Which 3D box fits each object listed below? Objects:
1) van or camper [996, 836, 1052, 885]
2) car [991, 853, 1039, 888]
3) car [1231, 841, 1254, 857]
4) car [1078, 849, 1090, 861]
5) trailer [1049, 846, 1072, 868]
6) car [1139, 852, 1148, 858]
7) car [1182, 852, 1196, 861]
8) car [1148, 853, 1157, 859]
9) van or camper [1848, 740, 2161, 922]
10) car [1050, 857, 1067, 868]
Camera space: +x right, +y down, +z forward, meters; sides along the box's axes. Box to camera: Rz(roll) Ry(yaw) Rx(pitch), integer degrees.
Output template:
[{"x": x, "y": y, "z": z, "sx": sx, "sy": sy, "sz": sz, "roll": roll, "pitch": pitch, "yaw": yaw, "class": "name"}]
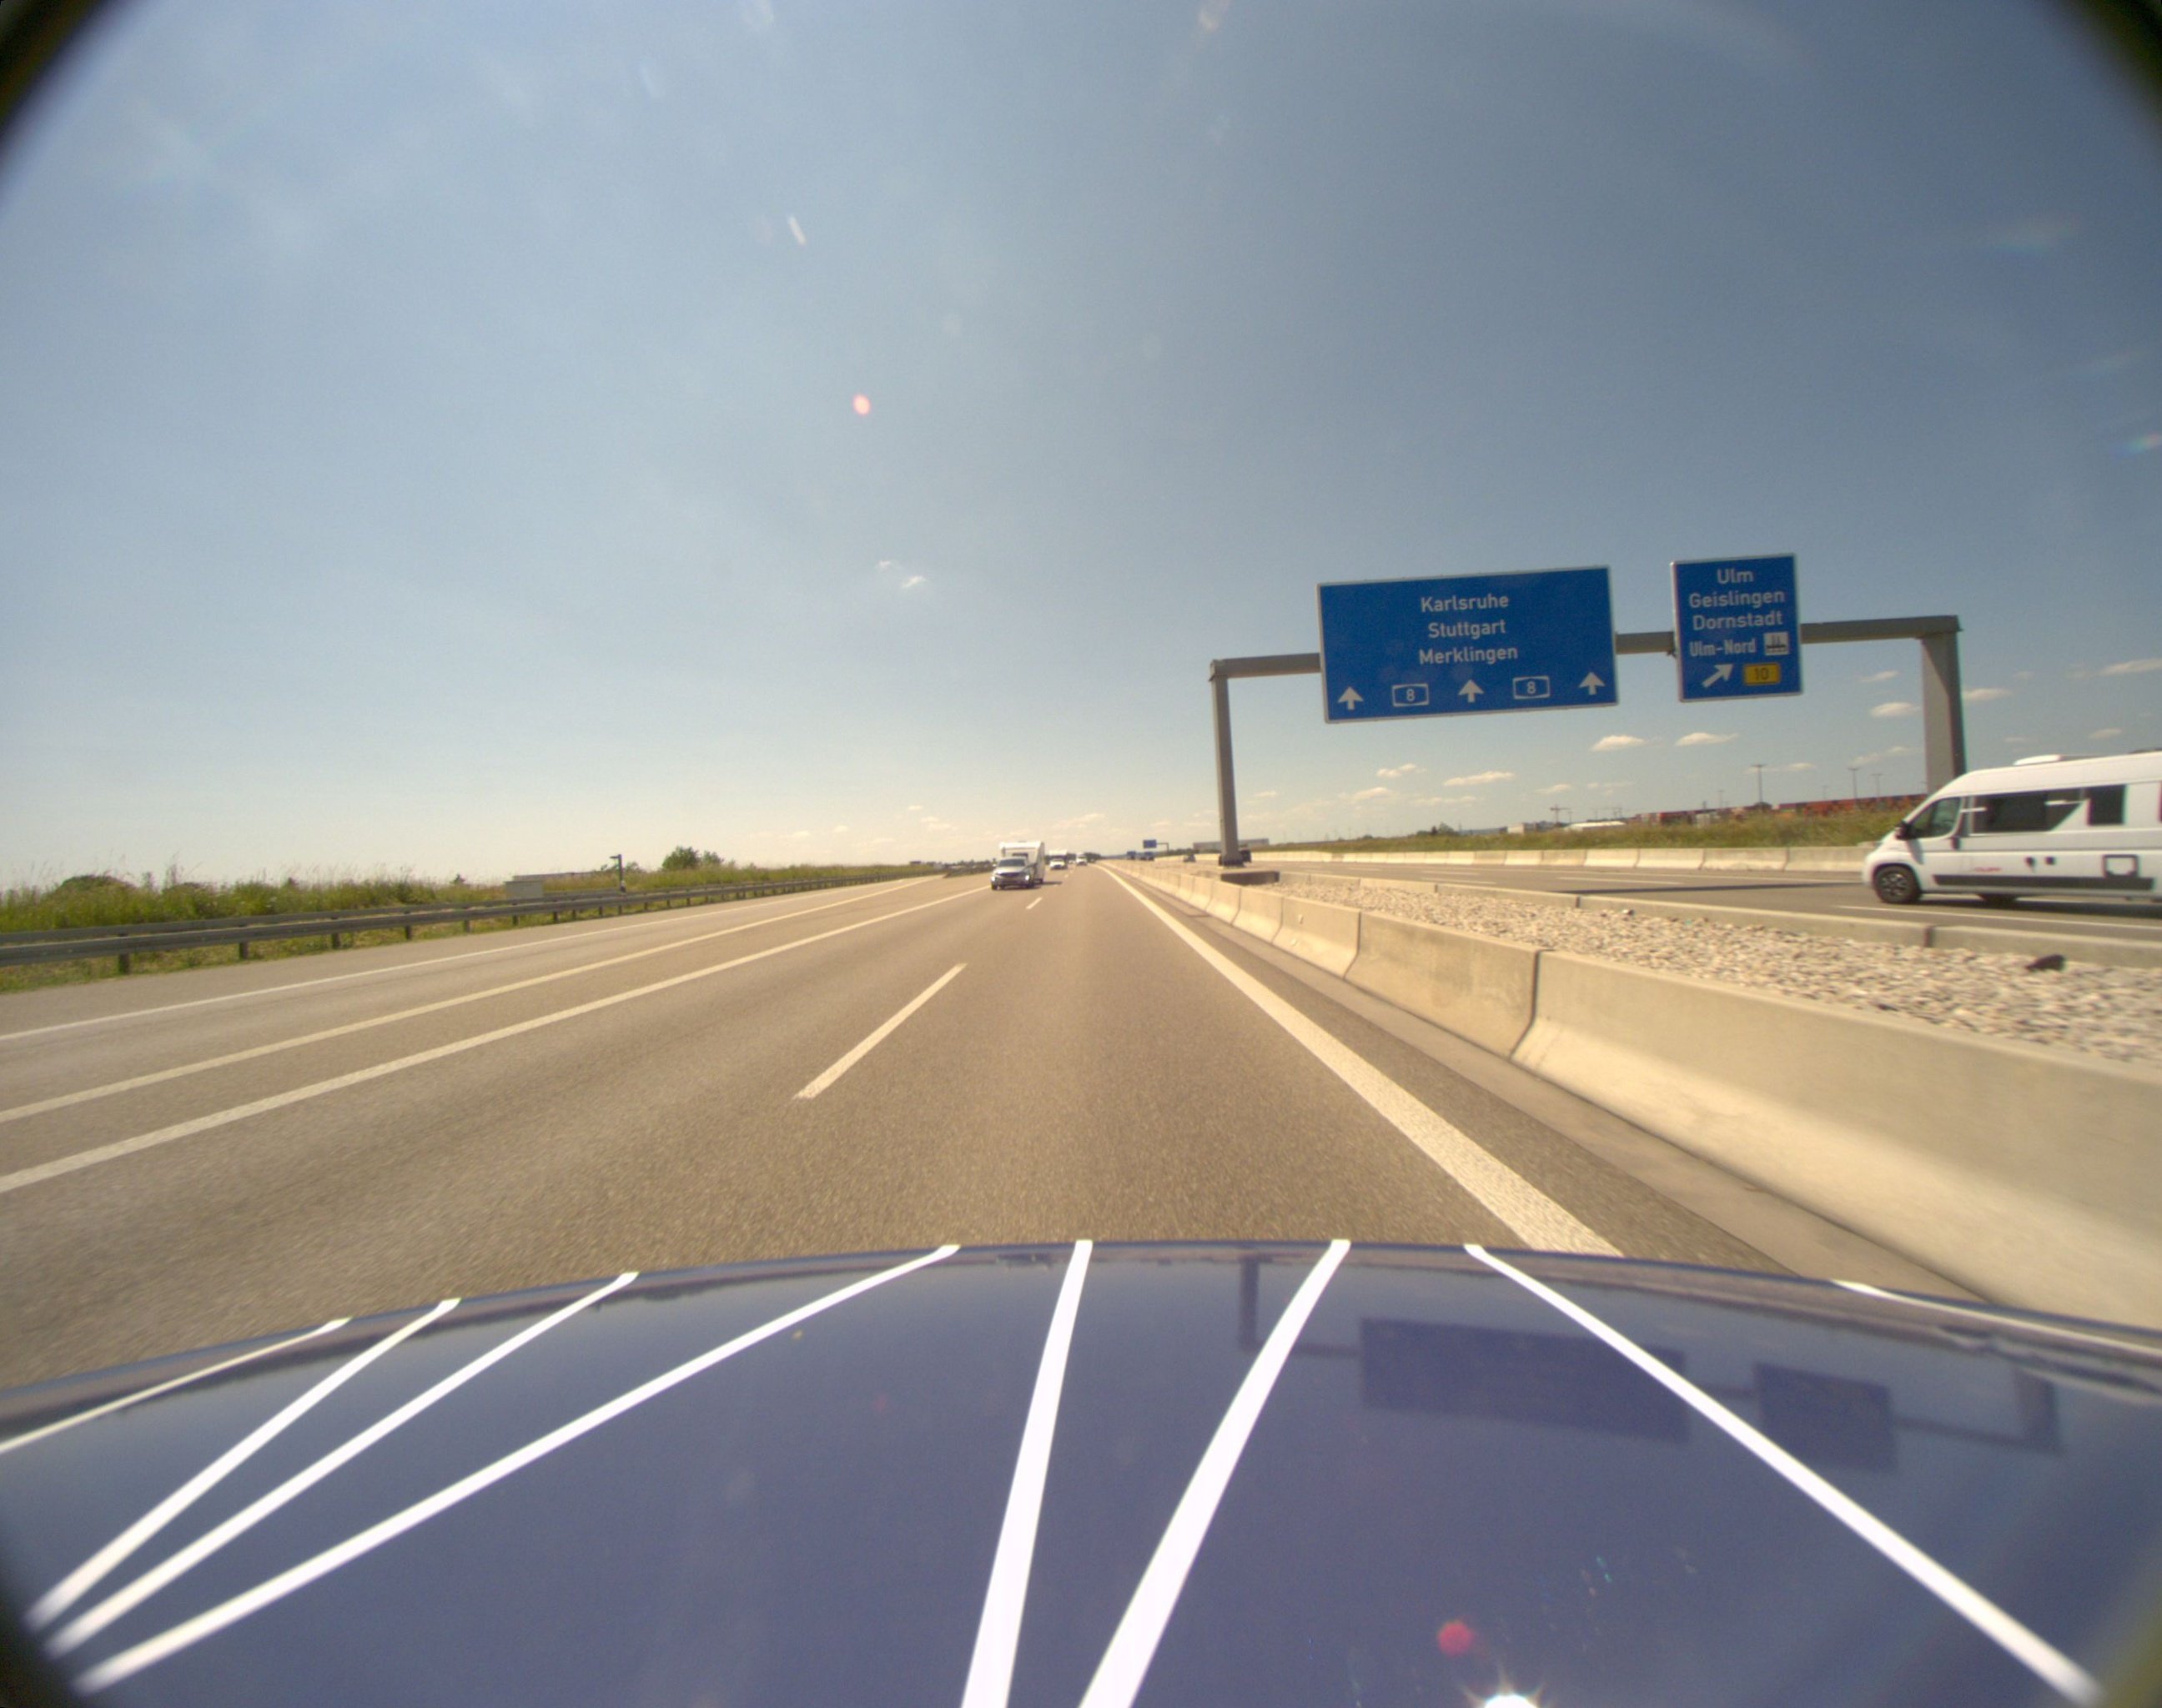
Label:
[{"x": -3.245, "y": 0.395, "z": 45.112, "sx": 2.518, "sy": 2.577, "sz": 7.818, "roll": -2, "pitch": -1, "yaw": 1, "class": "van or camper"}, {"x": -3.290, "y": 0.799, "z": 38.860, "sx": 1.885, "sy": 1.613, "sz": 4.904, "roll": -2, "pitch": -1, "yaw": 1, "class": "car"}, {"x": 20.394, "y": -0.626, "z": 96.183, "sx": 1.851, "sy": 1.813, "sz": 4.921, "roll": -3, "pitch": 0, "yaw": 0, "class": "car"}, {"x": 0.585, "y": 0.161, "z": 137.899, "sx": 1.998, "sy": 2.002, "sz": 4.000, "roll": -2, "pitch": 0, "yaw": 1, "class": "car"}, {"x": -2.709, "y": 0.458, "z": 101.541, "sx": 2.500, "sy": 2.686, "sz": 7.157, "roll": -2, "pitch": -1, "yaw": 3, "class": "trailer"}, {"x": 14.630, "y": 0.226, "z": 177.683, "sx": 1.848, "sy": 1.374, "sz": 4.752, "roll": -3, "pitch": 0, "yaw": 2, "class": "car"}, {"x": 18.075, "y": 0.436, "z": 127.035, "sx": 1.895, "sy": 1.321, "sz": 3.986, "roll": -3, "pitch": 0, "yaw": 3, "class": "car"}, {"x": 18.882, "y": 0.545, "z": 201.062, "sx": 1.998, "sy": 1.371, "sz": 4.364, "roll": -2, "pitch": 0, "yaw": 2, "class": "car"}, {"x": 16.277, "y": -0.367, "z": 11.796, "sx": 2.325, "sy": 2.543, "sz": 6.315, "roll": -2, "pitch": 0, "yaw": 0, "class": "van or camper"}, {"x": -2.802, "y": 1.121, "z": 96.097, "sx": 1.872, "sy": 1.351, "sz": 3.673, "roll": -1, "pitch": -1, "yaw": 3, "class": "car"}]
